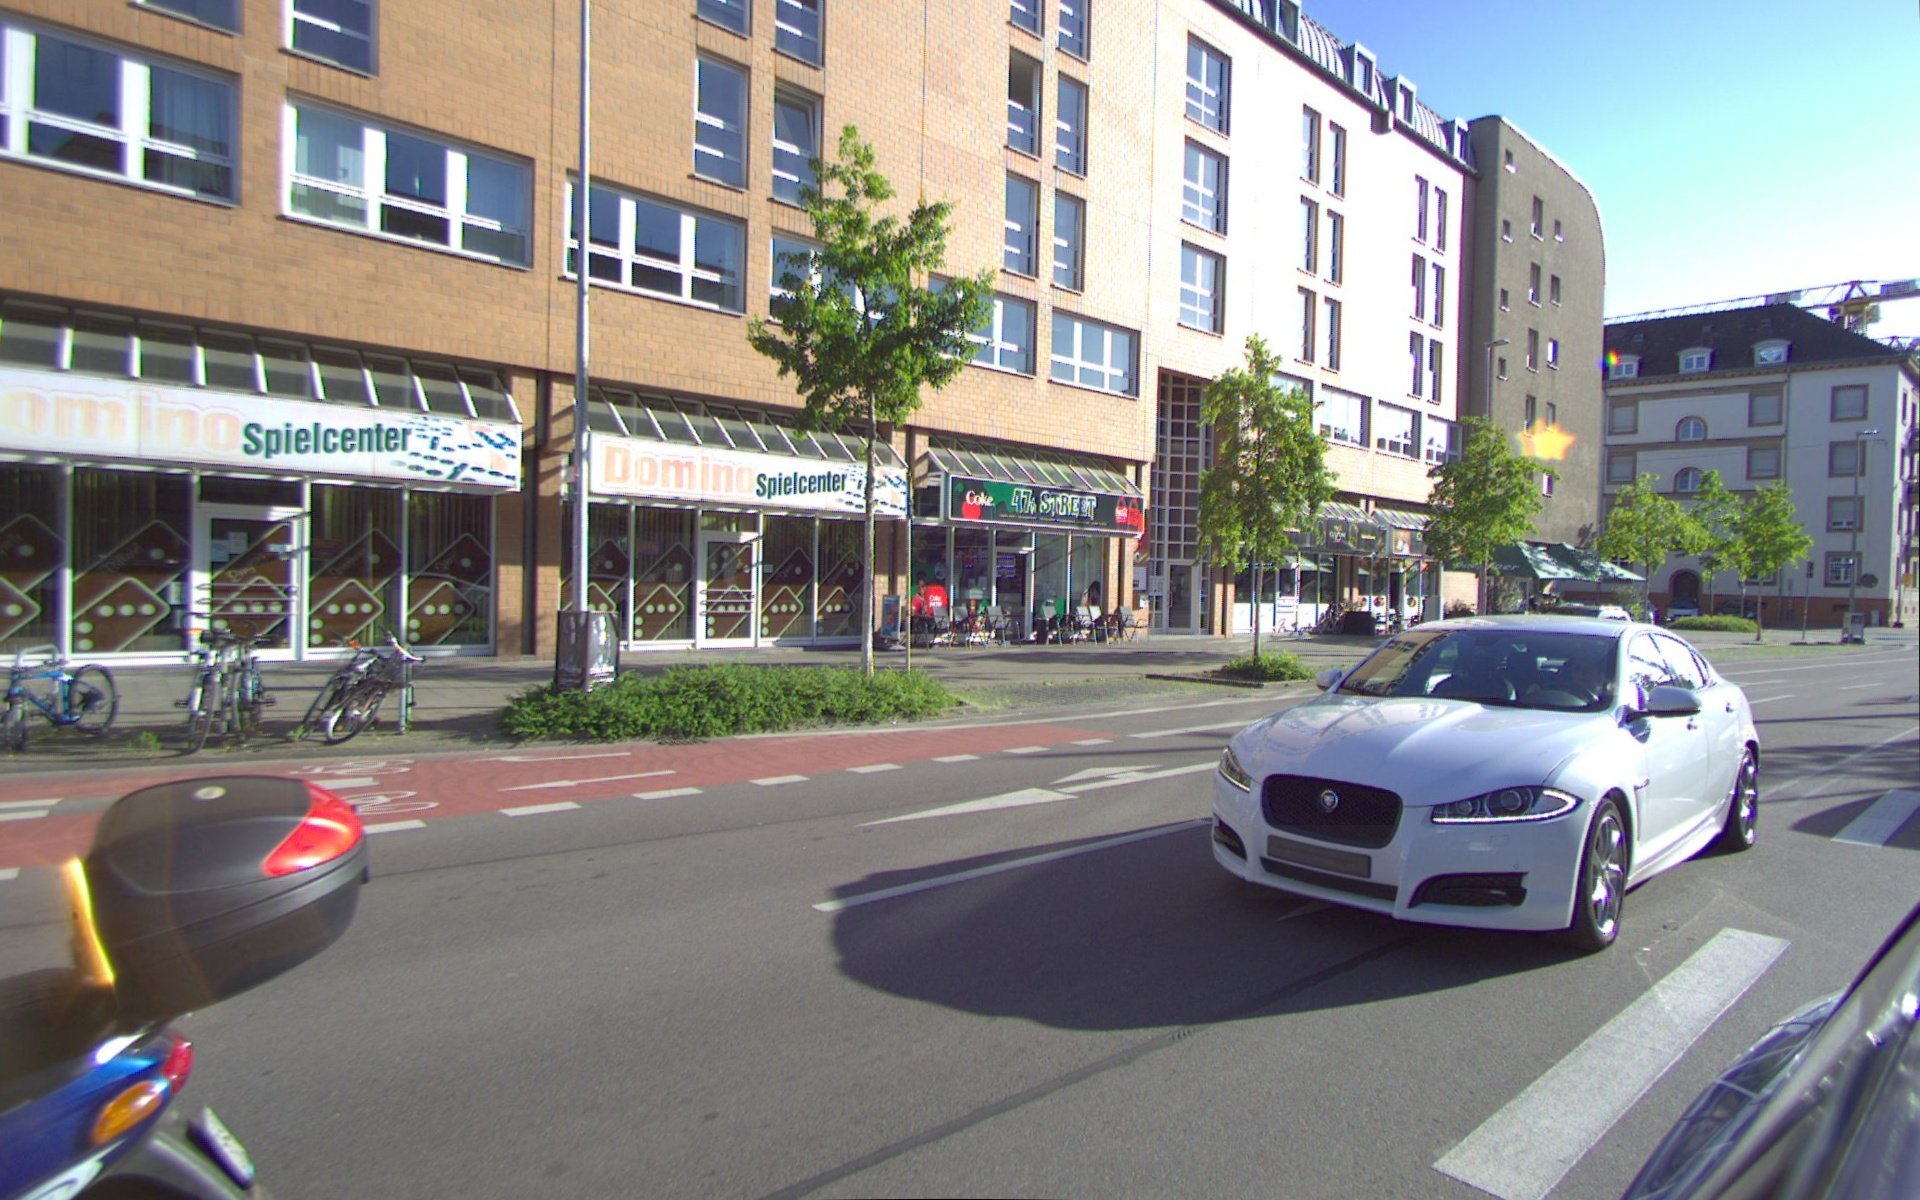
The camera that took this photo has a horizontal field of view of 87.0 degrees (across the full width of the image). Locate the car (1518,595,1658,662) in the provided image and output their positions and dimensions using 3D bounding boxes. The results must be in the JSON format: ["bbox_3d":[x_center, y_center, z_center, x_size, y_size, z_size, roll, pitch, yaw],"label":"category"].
[{"bbox_3d":[17.335,0.727,27.883,4.150,1.657,1.727,0,2,-34],"label":"car"}]

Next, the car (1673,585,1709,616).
[{"bbox_3d":[43.230,-0.009,59.799,1.619,1.707,4.381,1,2,37],"label":"car"}]

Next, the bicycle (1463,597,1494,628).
[{"bbox_3d":[20.933,0.503,40.861,1.511,1.184,0.614,0,2,-44],"label":"bicycle"}]

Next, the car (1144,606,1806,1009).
[{"bbox_3d":[3.273,0.759,5.875,4.734,1.432,1.783,0,-1,-41],"label":"car"}]

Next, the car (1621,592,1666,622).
[{"bbox_3d":[34.801,0.354,51.480,1.658,1.493,3.784,0,-1,37],"label":"car"}]

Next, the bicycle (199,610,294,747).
[{"bbox_3d":[-6.864,0.692,9.799,0.543,1.088,1.954,0,2,-29],"label":"bicycle"}]

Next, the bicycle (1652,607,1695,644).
[{"bbox_3d":[24.415,0.861,34.626,1.965,1.093,0.767,-2,8,-44],"label":"bicycle"}]

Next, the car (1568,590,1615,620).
[{"bbox_3d":[33.029,0.260,52.898,1.629,1.471,3.603,-1,-1,39],"label":"car"}]

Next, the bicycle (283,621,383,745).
[{"bbox_3d":[-6.200,0.770,10.088,0.543,0.981,1.956,1,2,-23],"label":"bicycle"}]

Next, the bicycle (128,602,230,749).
[{"bbox_3d":[-7.317,0.641,9.544,0.481,1.151,1.954,0,2,-29],"label":"bicycle"}]

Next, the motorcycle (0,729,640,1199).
[{"bbox_3d":[-1.817,0.867,1.376,2.508,1.075,0.839,0,1,-42],"label":"motorcycle"}]

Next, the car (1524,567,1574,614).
[{"bbox_3d":[37.223,-0.661,63.902,1.919,2.640,5.884,2,4,38],"label":"car"}]

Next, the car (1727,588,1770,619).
[{"bbox_3d":[45.091,0.189,57.852,1.691,1.708,4.373,-1,-1,41],"label":"car"}]

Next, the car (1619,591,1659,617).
[{"bbox_3d":[41.141,0.231,61.259,1.689,1.447,4.379,0,1,38],"label":"car"}]

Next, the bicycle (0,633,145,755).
[{"bbox_3d":[-8.249,0.803,9.186,0.543,0.845,1.956,1,2,-14],"label":"bicycle"}]

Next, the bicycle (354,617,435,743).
[{"bbox_3d":[-5.714,0.751,10.294,0.491,1.035,1.956,1,2,-23],"label":"bicycle"}]
